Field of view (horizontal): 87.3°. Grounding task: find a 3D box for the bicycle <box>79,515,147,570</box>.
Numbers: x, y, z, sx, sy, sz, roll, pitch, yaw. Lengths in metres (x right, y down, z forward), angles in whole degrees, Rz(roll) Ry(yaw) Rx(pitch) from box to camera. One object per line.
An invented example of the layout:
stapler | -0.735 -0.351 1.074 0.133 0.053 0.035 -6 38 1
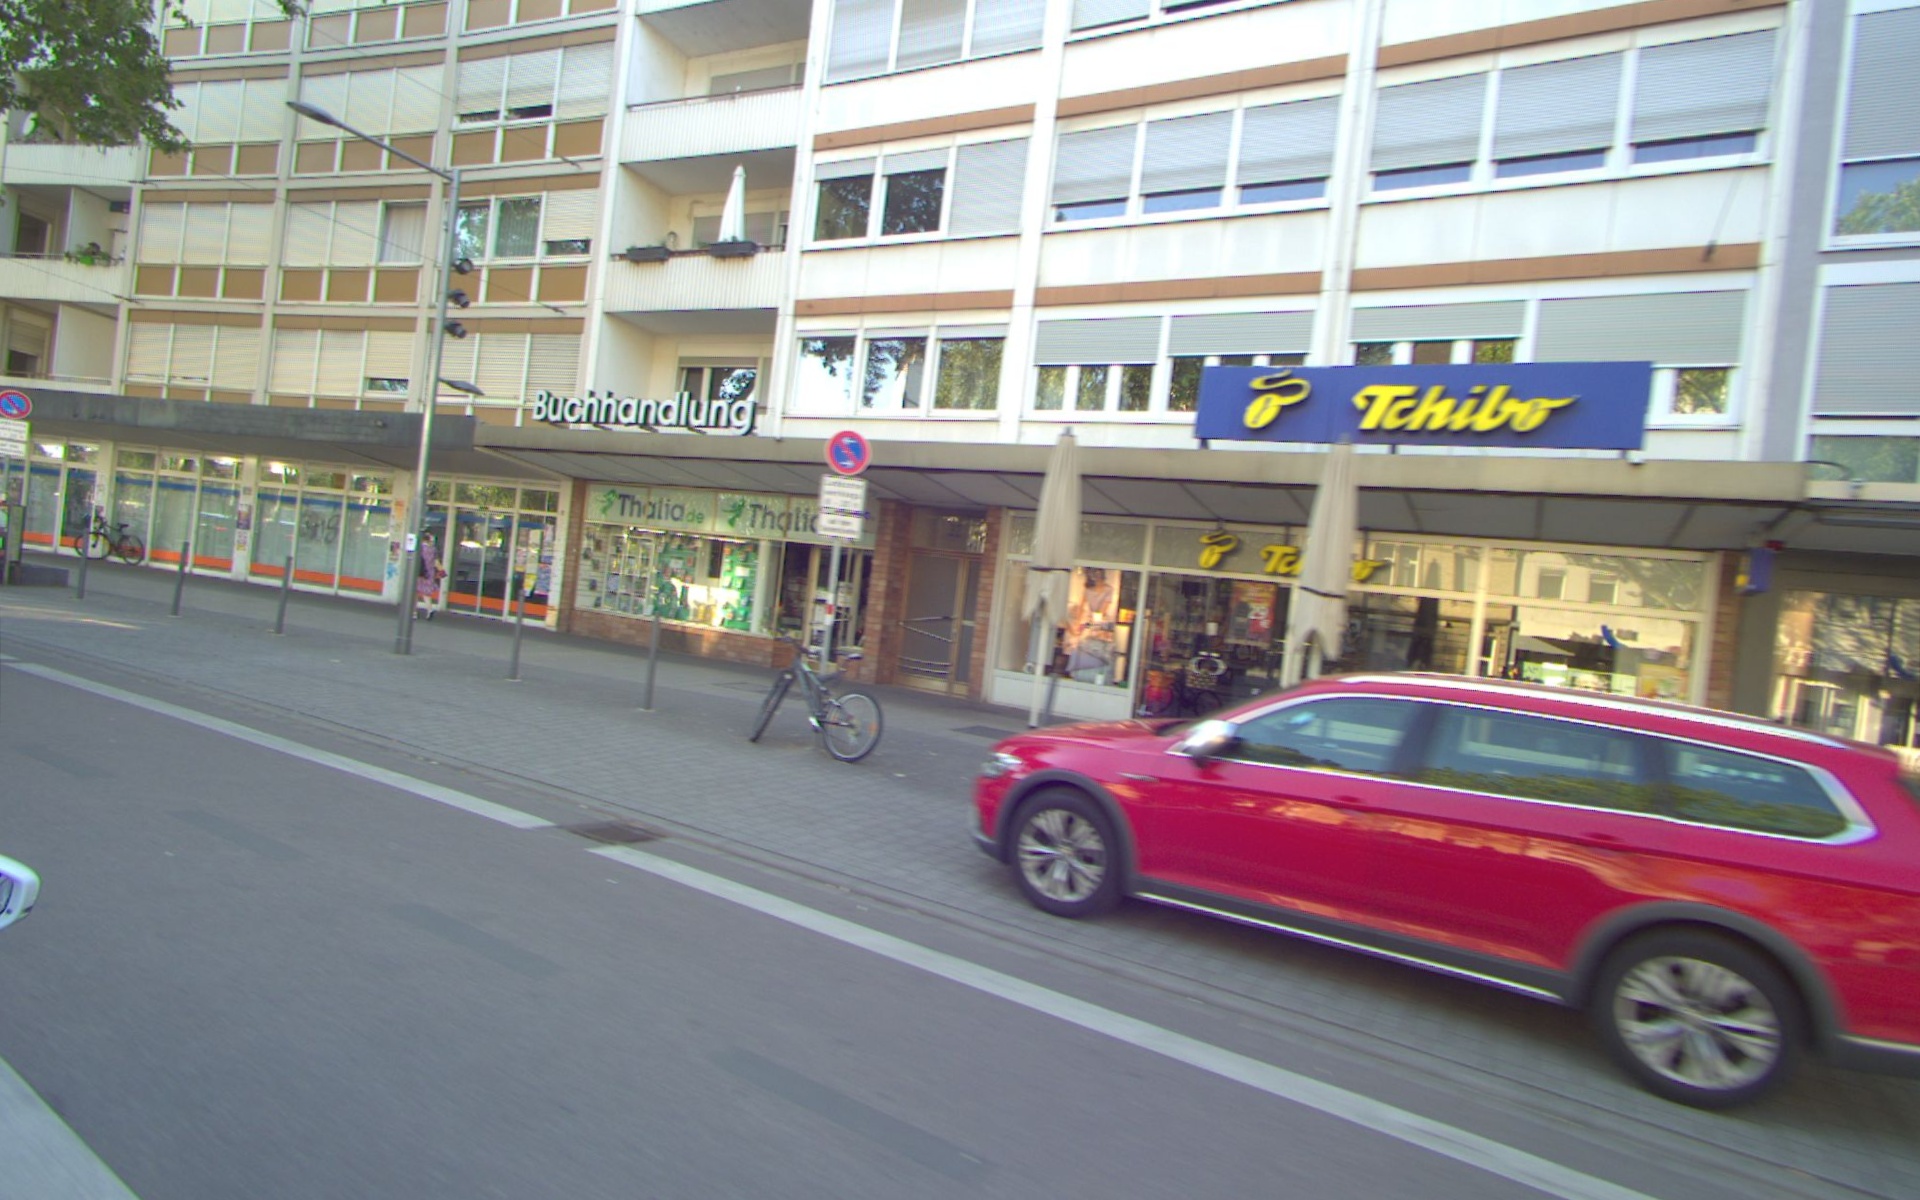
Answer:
bicycle | -19.926 -1.348 23.663 1.434 1.107 0.438 7 3 16

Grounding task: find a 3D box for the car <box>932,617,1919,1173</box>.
car | 2.271 1.107 5.250 4.491 1.516 1.779 7 1 31

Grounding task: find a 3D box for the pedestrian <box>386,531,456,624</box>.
pedestrian | -9.839 -0.403 18.370 0.793 1.571 0.641 7 1 22

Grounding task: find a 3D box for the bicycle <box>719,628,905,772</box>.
bicycle | -1.399 0.896 9.437 1.632 1.084 0.512 7 2 26
